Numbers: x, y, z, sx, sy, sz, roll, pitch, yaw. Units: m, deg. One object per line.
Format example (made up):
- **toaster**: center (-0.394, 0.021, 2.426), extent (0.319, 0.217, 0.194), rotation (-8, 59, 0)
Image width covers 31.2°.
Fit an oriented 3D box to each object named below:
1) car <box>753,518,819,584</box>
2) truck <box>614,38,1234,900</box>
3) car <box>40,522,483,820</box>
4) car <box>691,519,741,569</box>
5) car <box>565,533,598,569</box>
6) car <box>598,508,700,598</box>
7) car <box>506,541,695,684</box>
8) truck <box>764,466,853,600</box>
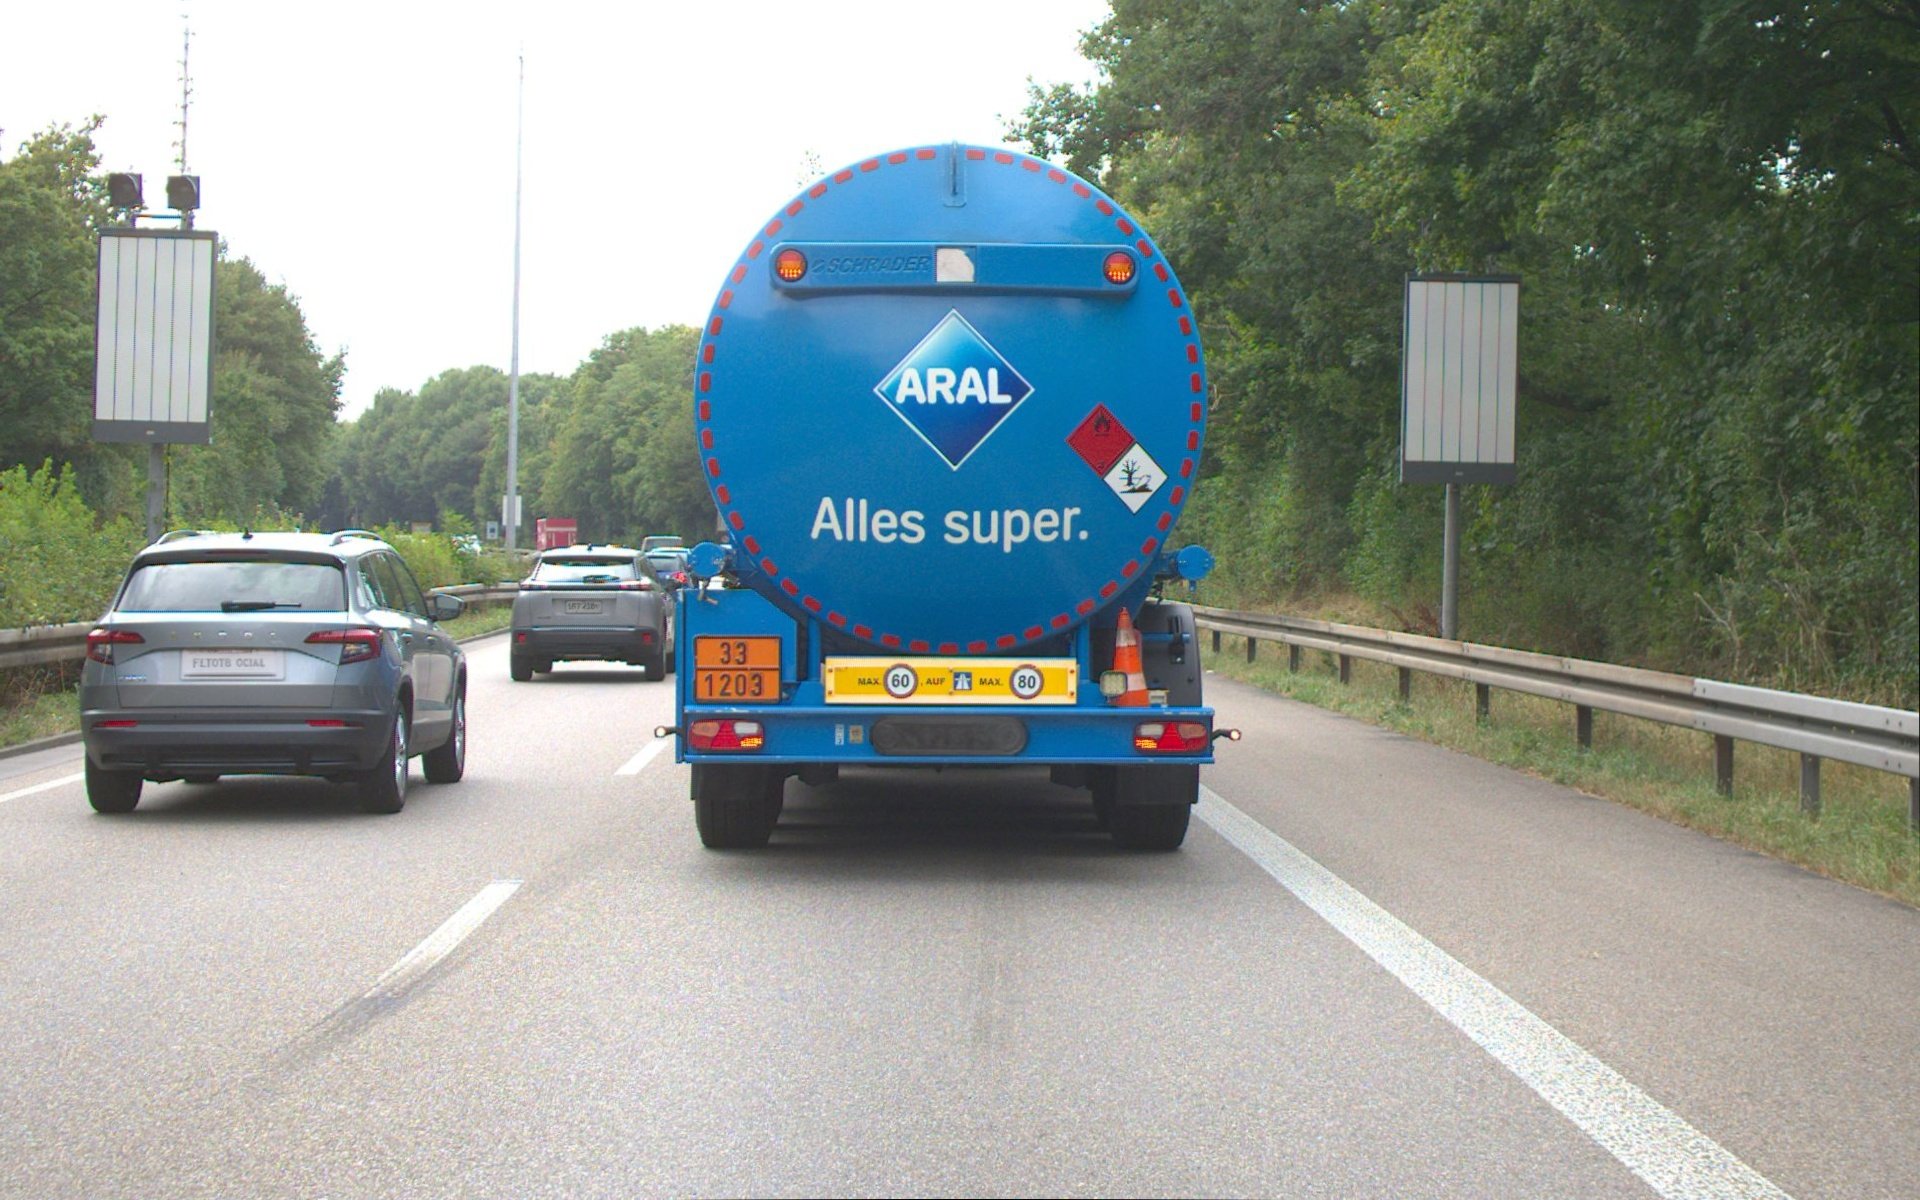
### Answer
- **car**: center (-5.904, -1.651, 117.205), extent (1.993, 2.237, 4.000), rotation (0, 0, 1)
- **truck**: center (-0.181, -0.597, 19.154), extent (2.755, 3.833, 7.688), rotation (0, 0, 0)
- **car**: center (-4.052, 0.377, 20.611), extent (1.826, 1.604, 4.167), rotation (0, 0, 0)
- **car**: center (-11.024, -2.519, 155.570), extent (1.993, 2.237, 4.000), rotation (0, 0, 0)
- **car**: center (-23.802, -3.073, 216.116), extent (1.993, 2.237, 4.001), rotation (0, 0, -7)
- **car**: center (-7.101, -1.065, 78.912), extent (1.993, 2.007, 4.000), rotation (0, 0, 0)
- **car**: center (-4.209, 0.135, 40.788), extent (1.826, 1.604, 4.167), rotation (0, 0, 0)
- **truck**: center (-3.629, -1.556, 83.281), extent (1.993, 3.082, 7.815), rotation (0, 0, -1)
